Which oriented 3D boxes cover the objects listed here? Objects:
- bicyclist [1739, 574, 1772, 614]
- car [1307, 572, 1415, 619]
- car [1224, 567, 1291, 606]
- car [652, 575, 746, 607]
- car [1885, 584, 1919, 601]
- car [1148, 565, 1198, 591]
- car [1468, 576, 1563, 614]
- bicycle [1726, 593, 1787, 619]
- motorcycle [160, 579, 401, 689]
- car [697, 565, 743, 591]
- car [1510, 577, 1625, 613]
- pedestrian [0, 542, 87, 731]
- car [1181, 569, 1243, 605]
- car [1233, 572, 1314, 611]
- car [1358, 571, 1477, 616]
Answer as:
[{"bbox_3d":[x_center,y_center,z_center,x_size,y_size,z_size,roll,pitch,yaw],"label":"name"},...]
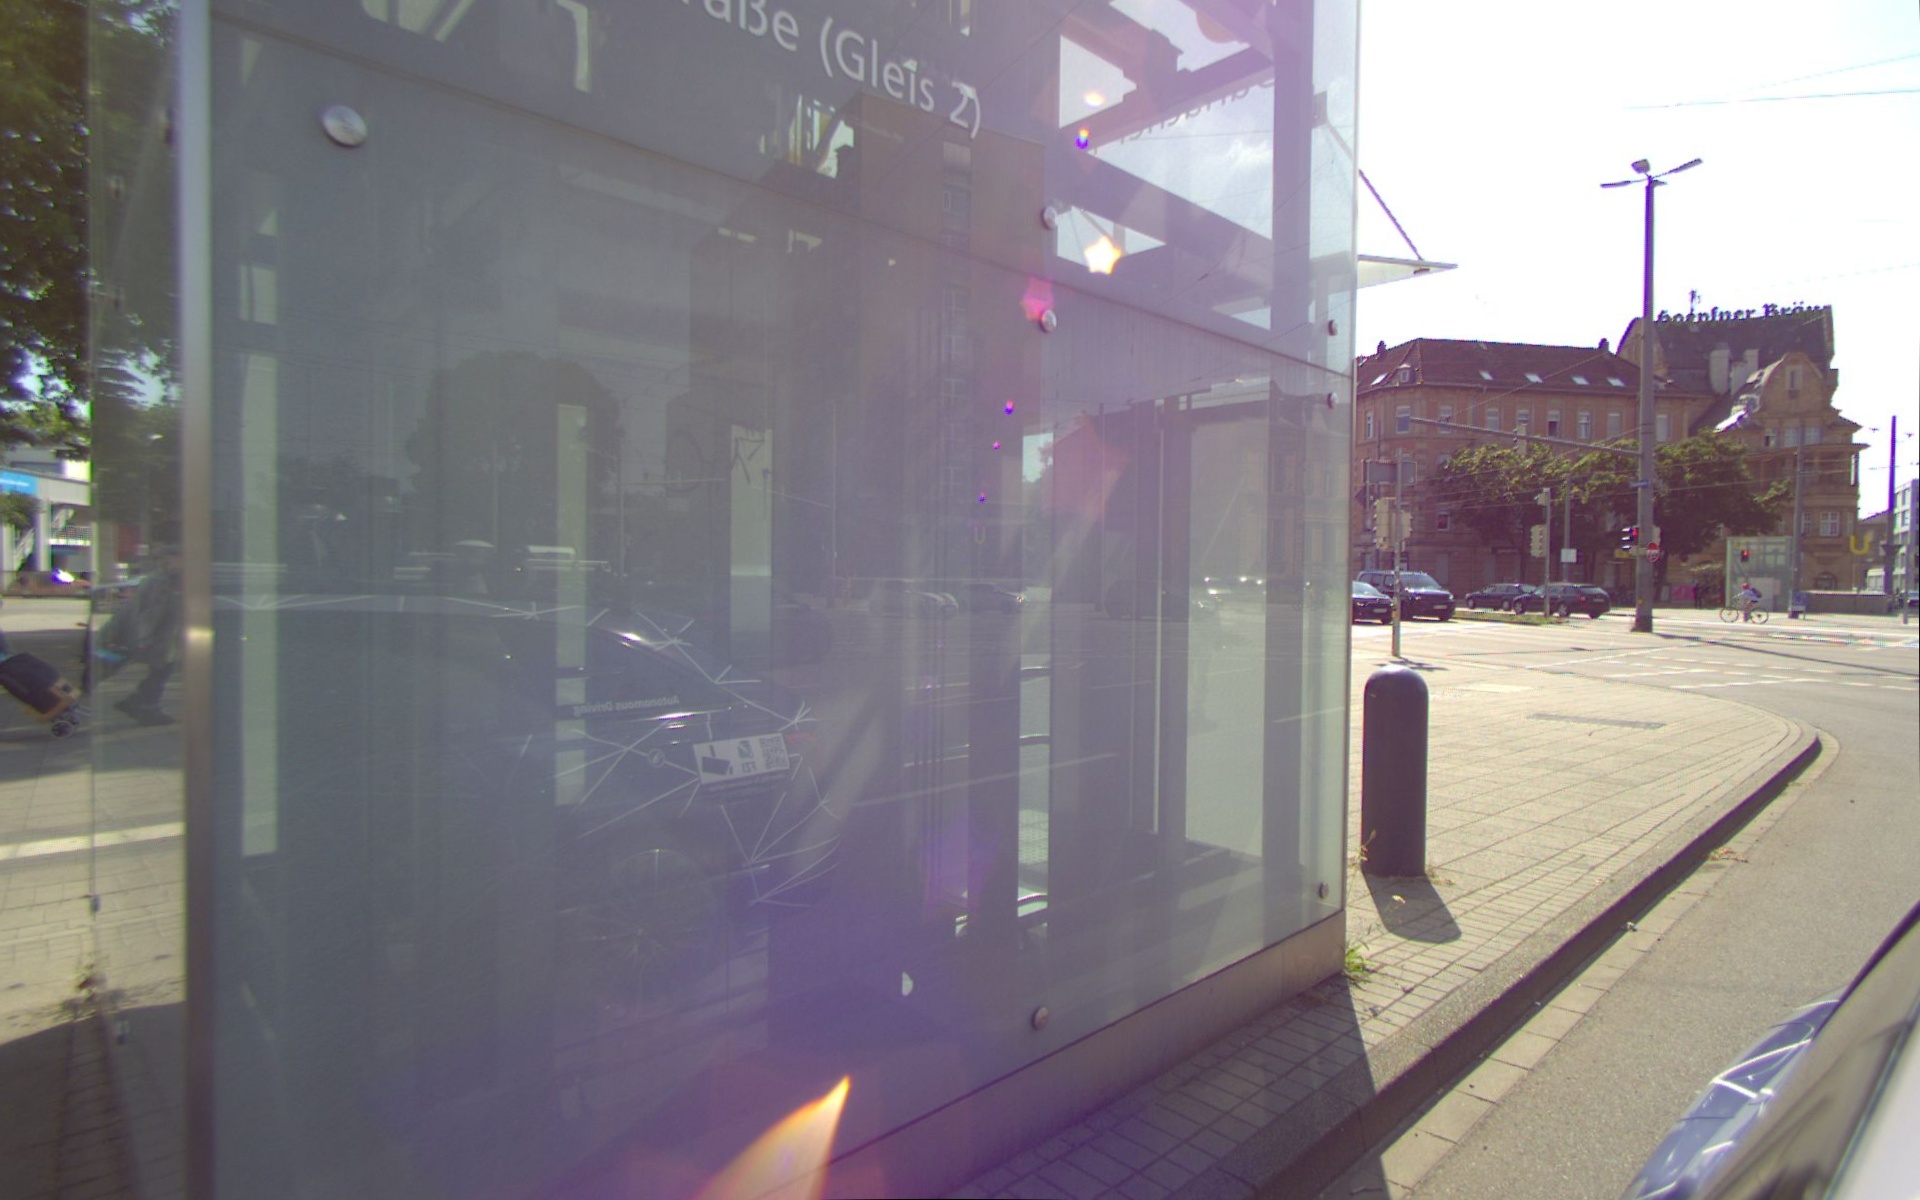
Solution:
[{"bbox_3d":[33.986,-0.274,43.233,0.701,1.690,0.876,-2,2,-15],"label":"bicyclist"},{"bbox_3d":[14.414,-0.212,36.638,1.859,1.607,4.216,0,1,-6],"label":"car"},{"bbox_3d":[15.468,-0.688,52.868,1.862,1.941,4.206,0,0,-7],"label":"car"},{"bbox_3d":[-13.533,-0.472,52.497,4.502,1.454,1.977,2,0,-19],"label":"car"},{"bbox_3d":[80.777,-0.669,86.778,1.628,1.362,3.538,2,2,35],"label":"car"},{"bbox_3d":[14.257,-1.479,68.014,2.150,1.701,5.031,0,1,-1],"label":"car"},{"bbox_3d":[28.786,-0.301,52.614,1.670,1.445,4.413,-1,7,-16],"label":"car"},{"bbox_3d":[34.002,0.232,43.257,0.701,1.028,2.025,-2,2,-15],"label":"bicycle"},{"bbox_3d":[-7.061,0.336,10.615,1.995,1.075,0.642,0,1,-16],"label":"motorcycle"},{"bbox_3d":[-15.112,-1.411,63.599,1.958,1.505,4.007,2,0,-25],"label":"car"},{"bbox_3d":[26.743,-0.277,44.765,1.602,1.453,4.789,0,2,-9],"label":"car"},{"bbox_3d":[-7.551,0.267,7.894,1.098,1.420,0.656,-1,5,-42],"label":"pedestrian"},{"bbox_3d":[12.708,-0.648,51.324,1.623,1.761,4.206,0,0,-7],"label":"car"},{"bbox_3d":[13.460,-0.376,43.657,1.862,1.608,4.005,0,0,-6],"label":"car"},{"bbox_3d":[17.299,-0.298,38.552,1.928,1.607,4.723,0,2,-6],"label":"car"}]
